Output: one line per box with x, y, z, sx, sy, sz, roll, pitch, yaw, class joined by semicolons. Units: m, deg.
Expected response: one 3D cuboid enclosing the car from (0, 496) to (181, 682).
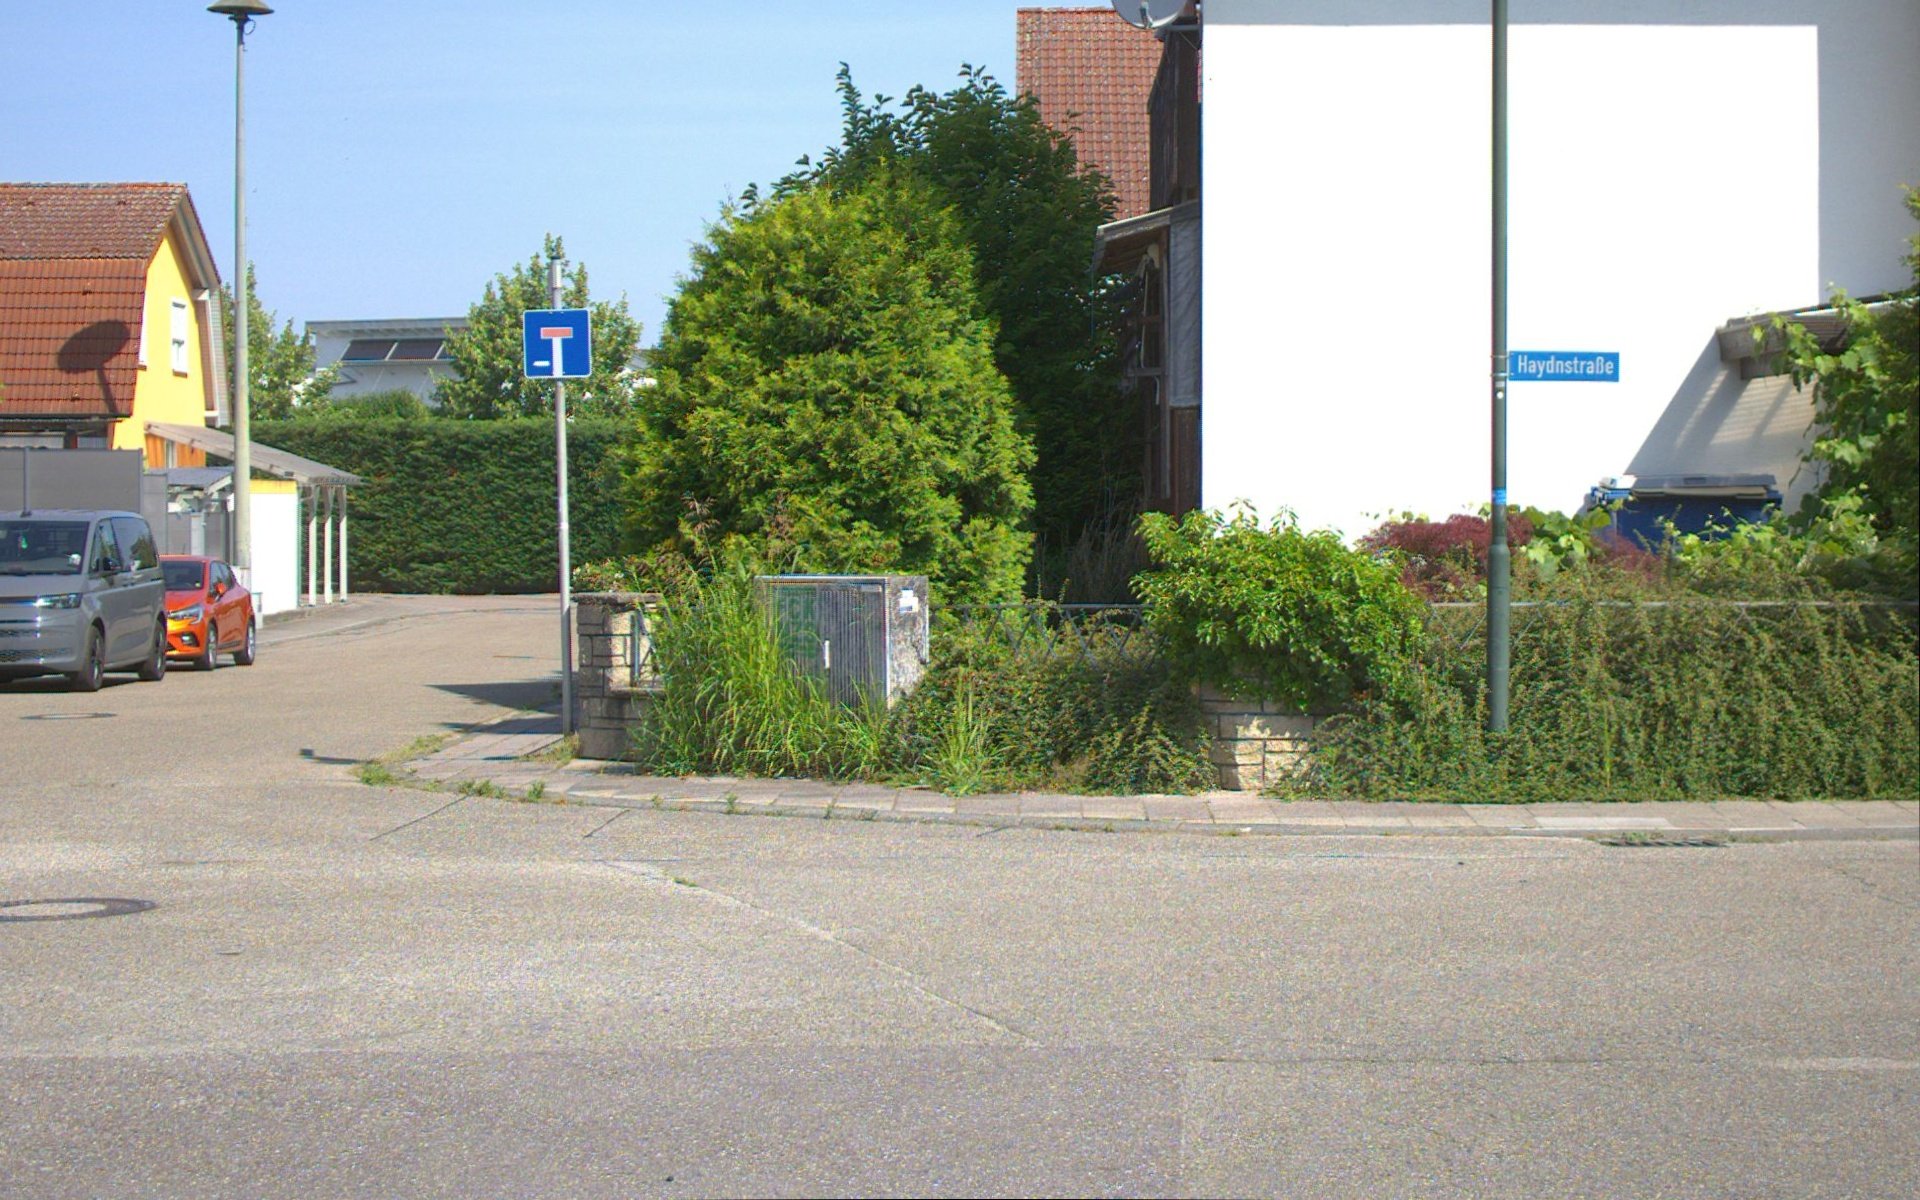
-9.800;-0.169;36.680;1.901;1.863;4.371;0;2;1;car

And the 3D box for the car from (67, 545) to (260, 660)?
-9.967;-0.005;43.254;1.651;1.360;3.779;0;1;-2;car
